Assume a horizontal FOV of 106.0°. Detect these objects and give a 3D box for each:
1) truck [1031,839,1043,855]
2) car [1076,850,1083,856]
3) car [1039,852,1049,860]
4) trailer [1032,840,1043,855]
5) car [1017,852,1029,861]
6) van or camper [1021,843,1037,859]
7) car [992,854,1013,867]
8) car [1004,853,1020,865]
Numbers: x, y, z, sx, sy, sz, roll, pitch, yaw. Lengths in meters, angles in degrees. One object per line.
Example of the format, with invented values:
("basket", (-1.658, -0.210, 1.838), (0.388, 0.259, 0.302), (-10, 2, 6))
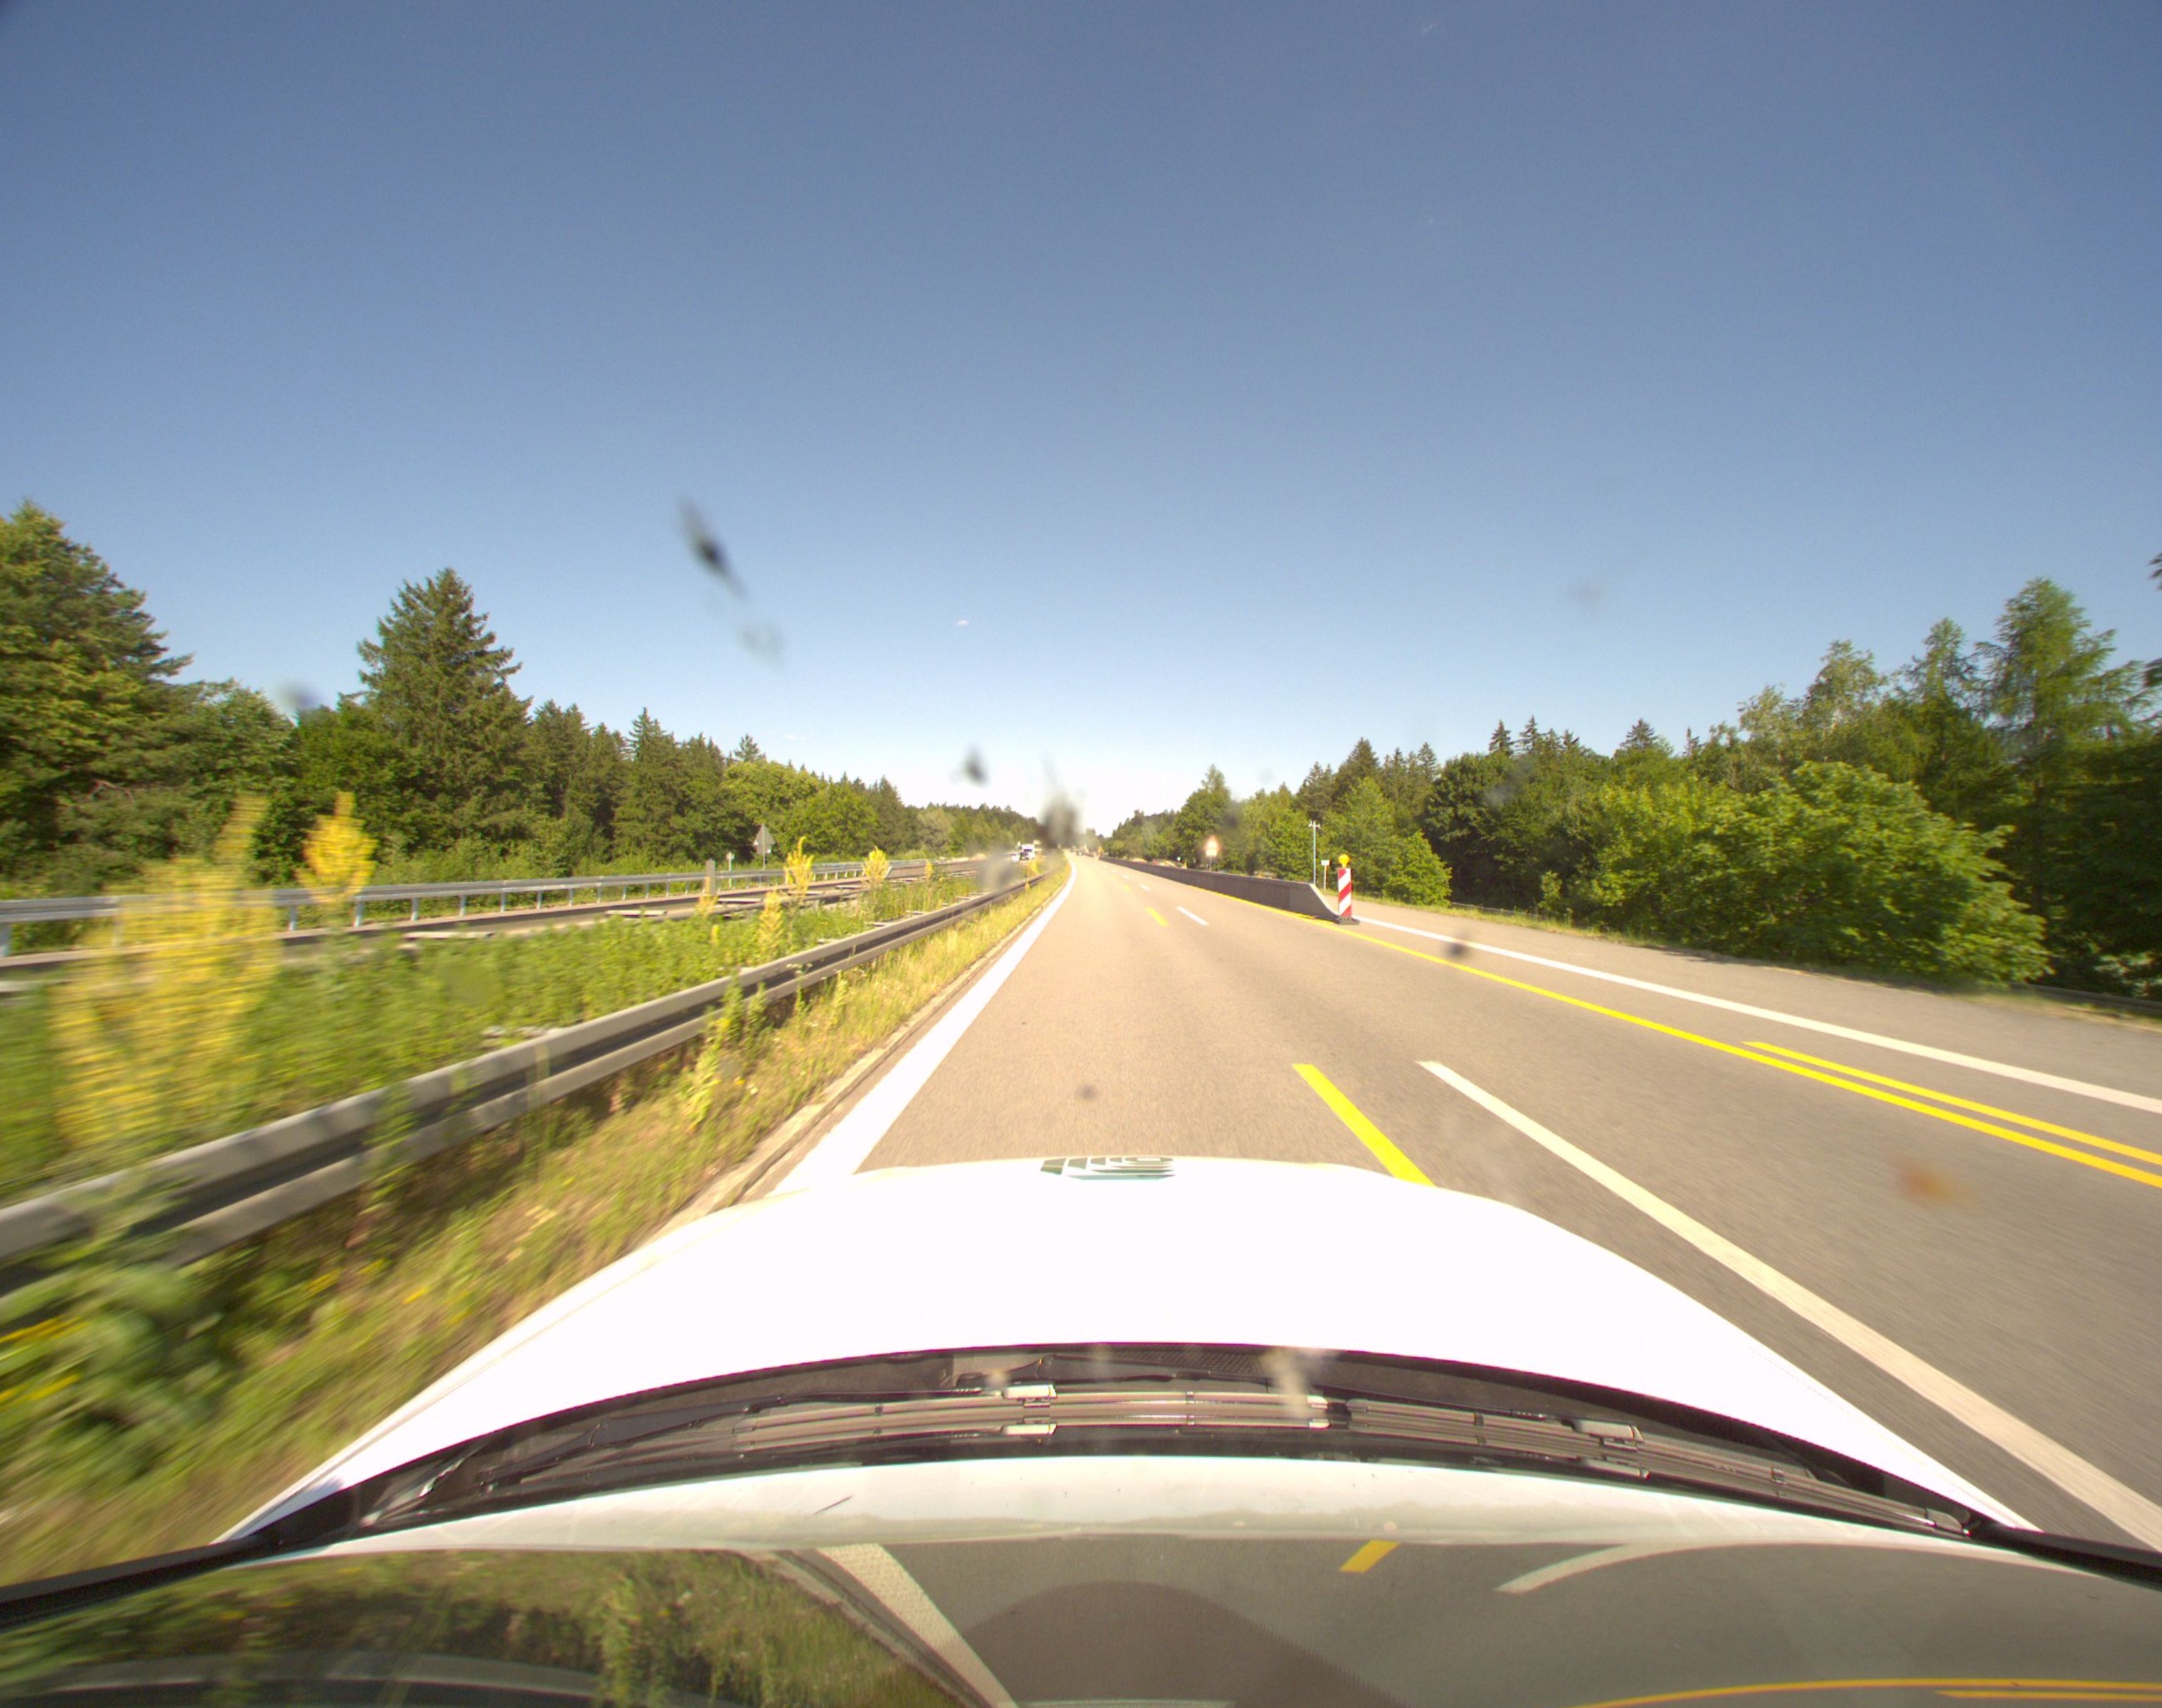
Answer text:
("truck", (-11.612, -1.819, 214.679), (2.763, 4.088, 5.472), (0, 0, -1))
("car", (-0.415, -0.331, 235.101), (1.739, 1.466, 4.291), (2, 0, -2))
("car", (-7.378, 0.378, 162.064), (1.736, 1.530, 3.999), (-1, 0, 0))
("trailer", (-11.752, -1.770, 220.925), (2.733, 4.070, 13.988), (0, 0, -1))
("car", (-10.015, 0.421, 140.465), (1.736, 1.432, 5.233), (-2, 0, -1))
("van or camper", (-9.786, -0.609, 154.031), (2.398, 2.950, 7.521), (1, 0, 0))
("car", (-8.699, 0.724, 90.209), (1.877, 1.432, 4.982), (1, 0, -1))
("car", (-9.305, 0.666, 109.801), (1.696, 1.432, 4.954), (-1, 0, -1))
